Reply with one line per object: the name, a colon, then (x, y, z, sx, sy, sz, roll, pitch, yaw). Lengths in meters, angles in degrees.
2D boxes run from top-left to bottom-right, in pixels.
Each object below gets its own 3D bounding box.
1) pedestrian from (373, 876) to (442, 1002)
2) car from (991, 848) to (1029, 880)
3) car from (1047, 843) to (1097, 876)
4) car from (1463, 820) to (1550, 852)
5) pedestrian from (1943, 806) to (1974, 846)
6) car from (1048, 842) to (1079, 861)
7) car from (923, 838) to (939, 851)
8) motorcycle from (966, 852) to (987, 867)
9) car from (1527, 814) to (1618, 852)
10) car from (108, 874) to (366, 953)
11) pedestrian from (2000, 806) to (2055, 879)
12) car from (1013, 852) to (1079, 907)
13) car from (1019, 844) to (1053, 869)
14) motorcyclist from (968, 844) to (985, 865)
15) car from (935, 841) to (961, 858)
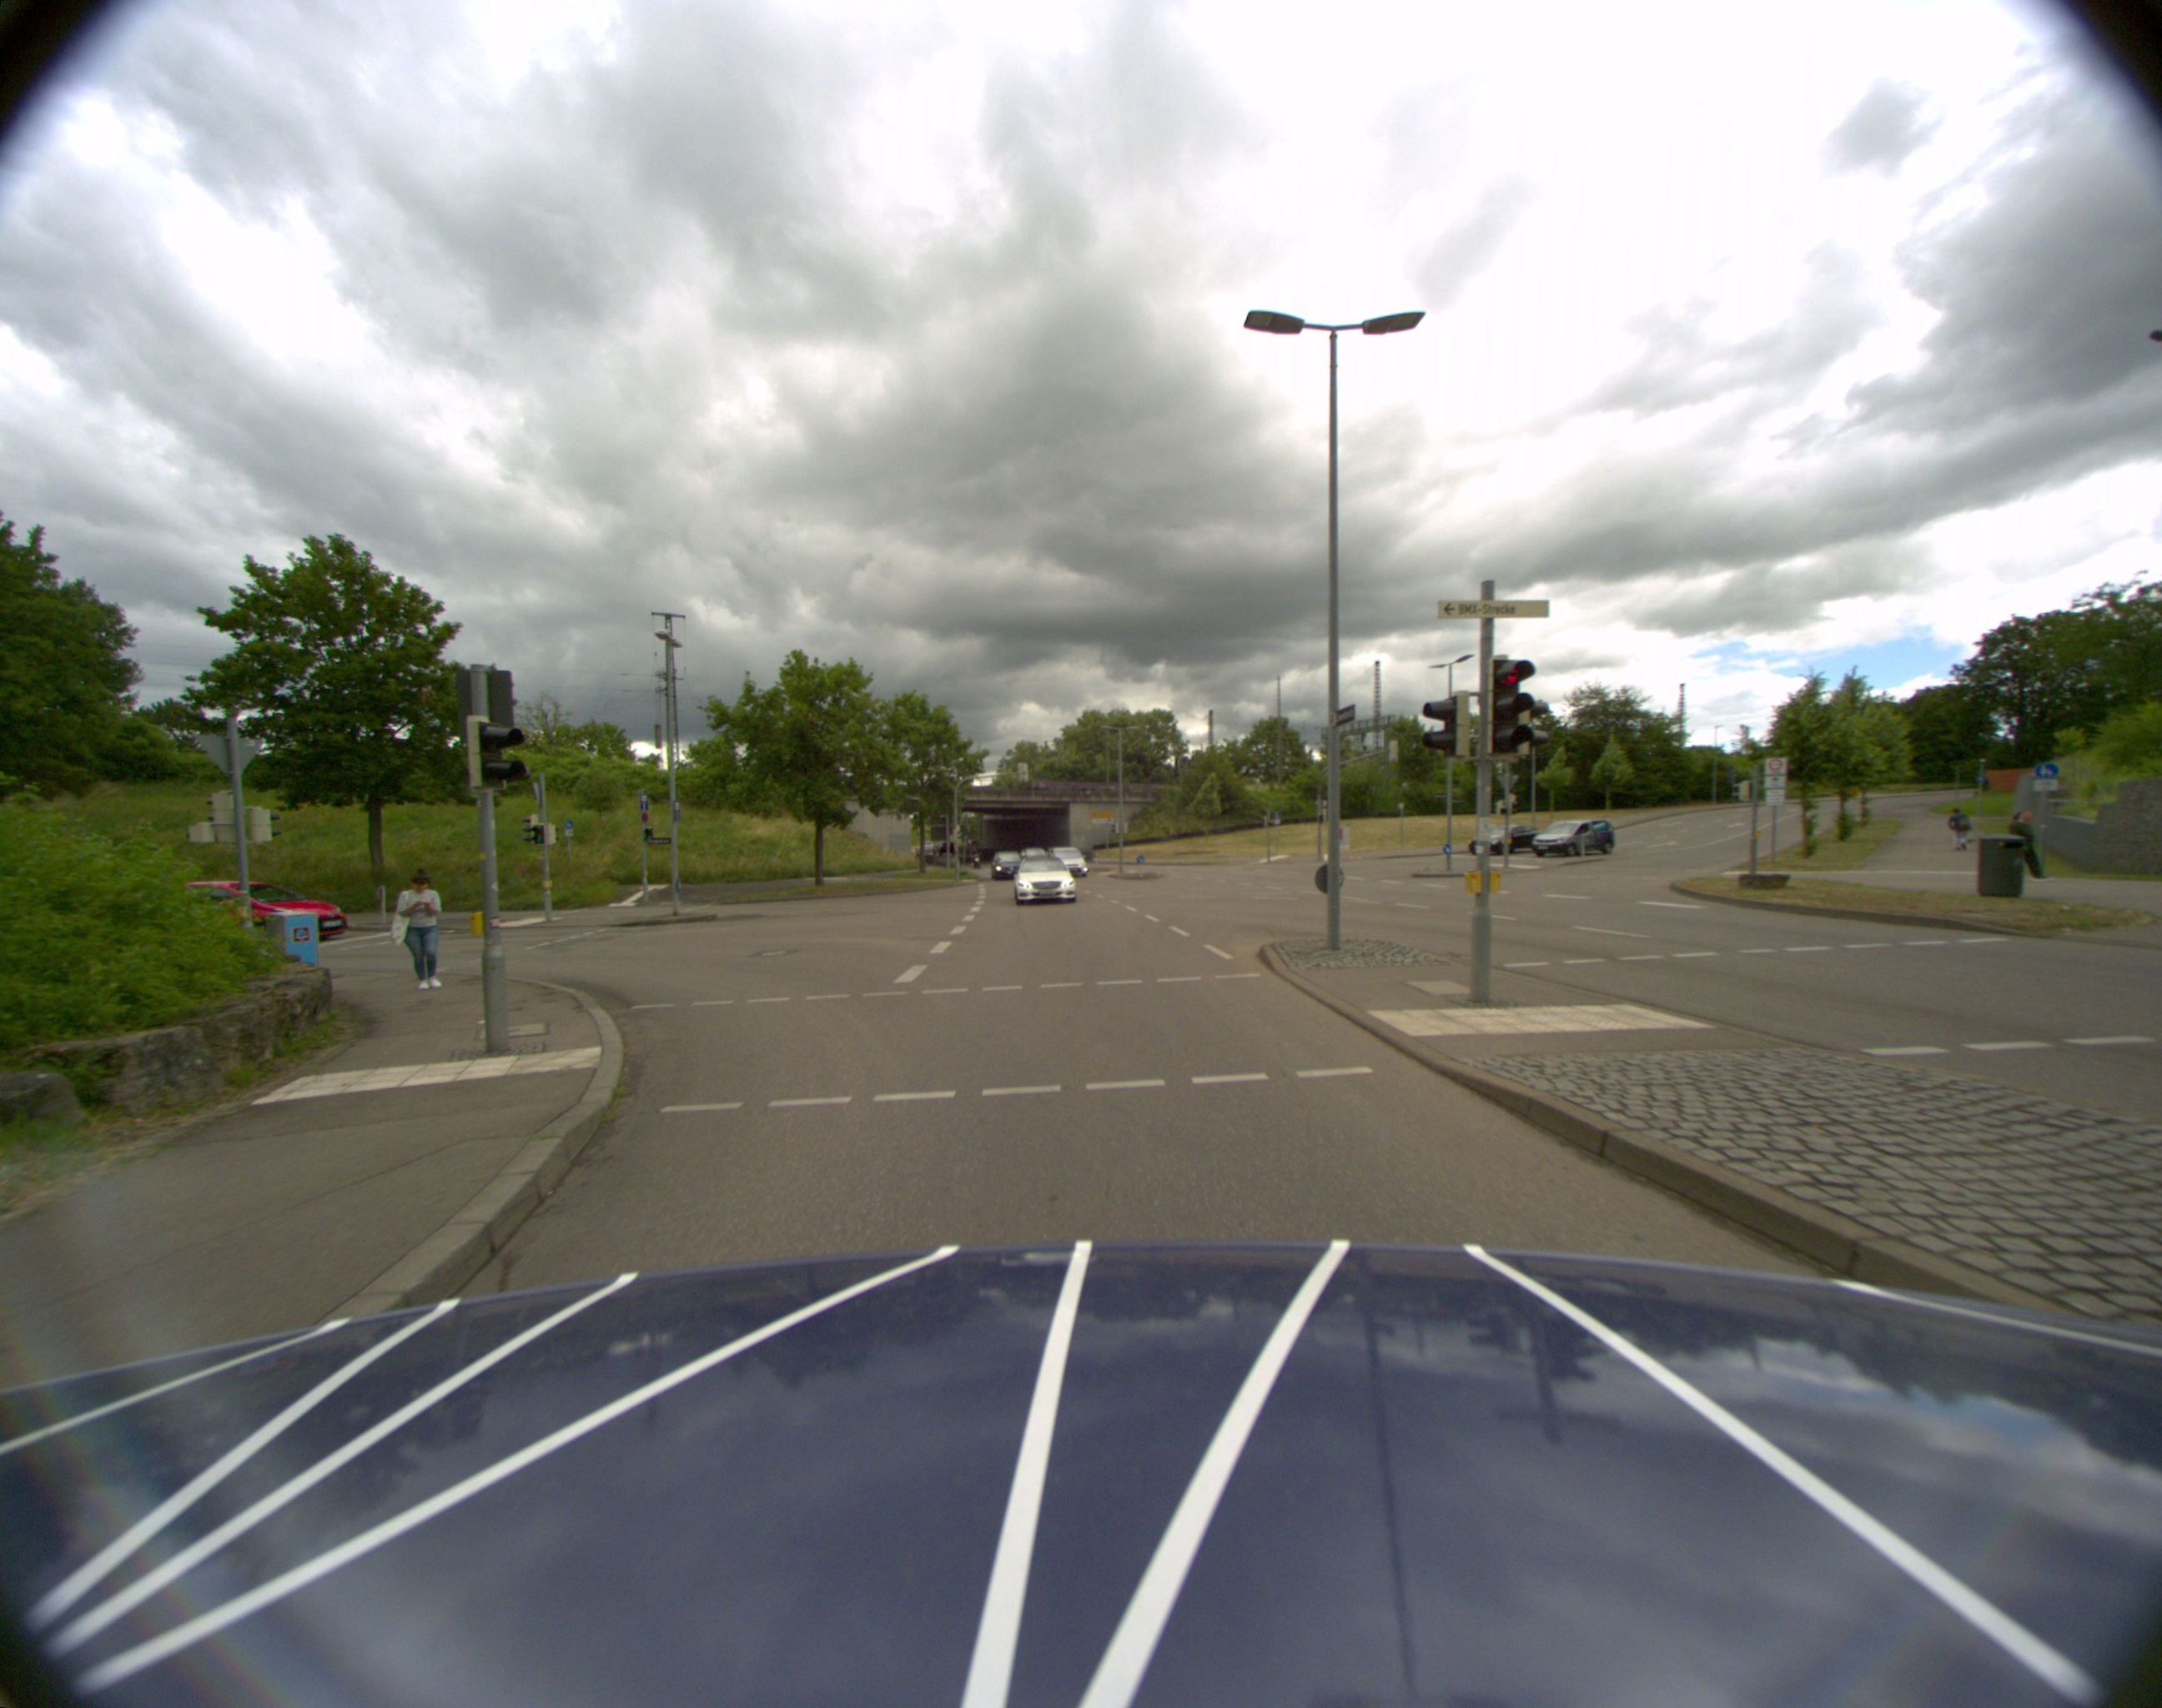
pedestrian: (-9.077, 1.117, 10.263, 0.581, 1.599, 0.622, -5, 3, -41)
car: (-3.999, 0.535, 43.257, 1.759, 1.532, 3.998, -3, 2, -1)
car: (-0.596, 0.249, 43.111, 1.832, 1.629, 4.506, -3, 2, -13)
car: (23.751, -1.029, 42.430, 4.267, 1.543, 2.106, -4, 2, -24)
pedestrian: (34.825, -1.110, 30.157, 0.902, 1.549, 0.799, -5, 3, -42)
car: (-1.446, -0.196, 61.113, 1.760, 1.447, 4.063, -3, 1, -11)
car: (-19.521, -1.268, 99.114, 1.760, 1.505, 3.883, -3, 2, -9)
motorcycle: (-8.010, 0.428, 58.327, 0.884, 1.098, 2.355, -3, 2, -25)
car: (24.944, -1.080, 38.524, 4.267, 1.719, 1.756, -3, 2, -23)
car: (-20.034, 1.369, 18.211, 3.832, 1.488, 1.758, -3, 2, -8)
pedestrian: (20.536, -0.253, 16.490, 0.581, 1.549, 0.623, -4, 3, -26)
car: (-1.141, 0.765, 24.963, 1.905, 1.472, 4.092, -3, 2, -2)
car: (-3.168, 0.148, 53.318, 1.760, 1.525, 4.249, -3, 2, -11)
motorcyclist: (-8.009, 0.036, 58.295, 0.884, 1.596, 1.241, -3, 2, -25)
car: (-15.652, -0.557, 89.319, 1.968, 1.781, 3.991, -4, 2, -24)
